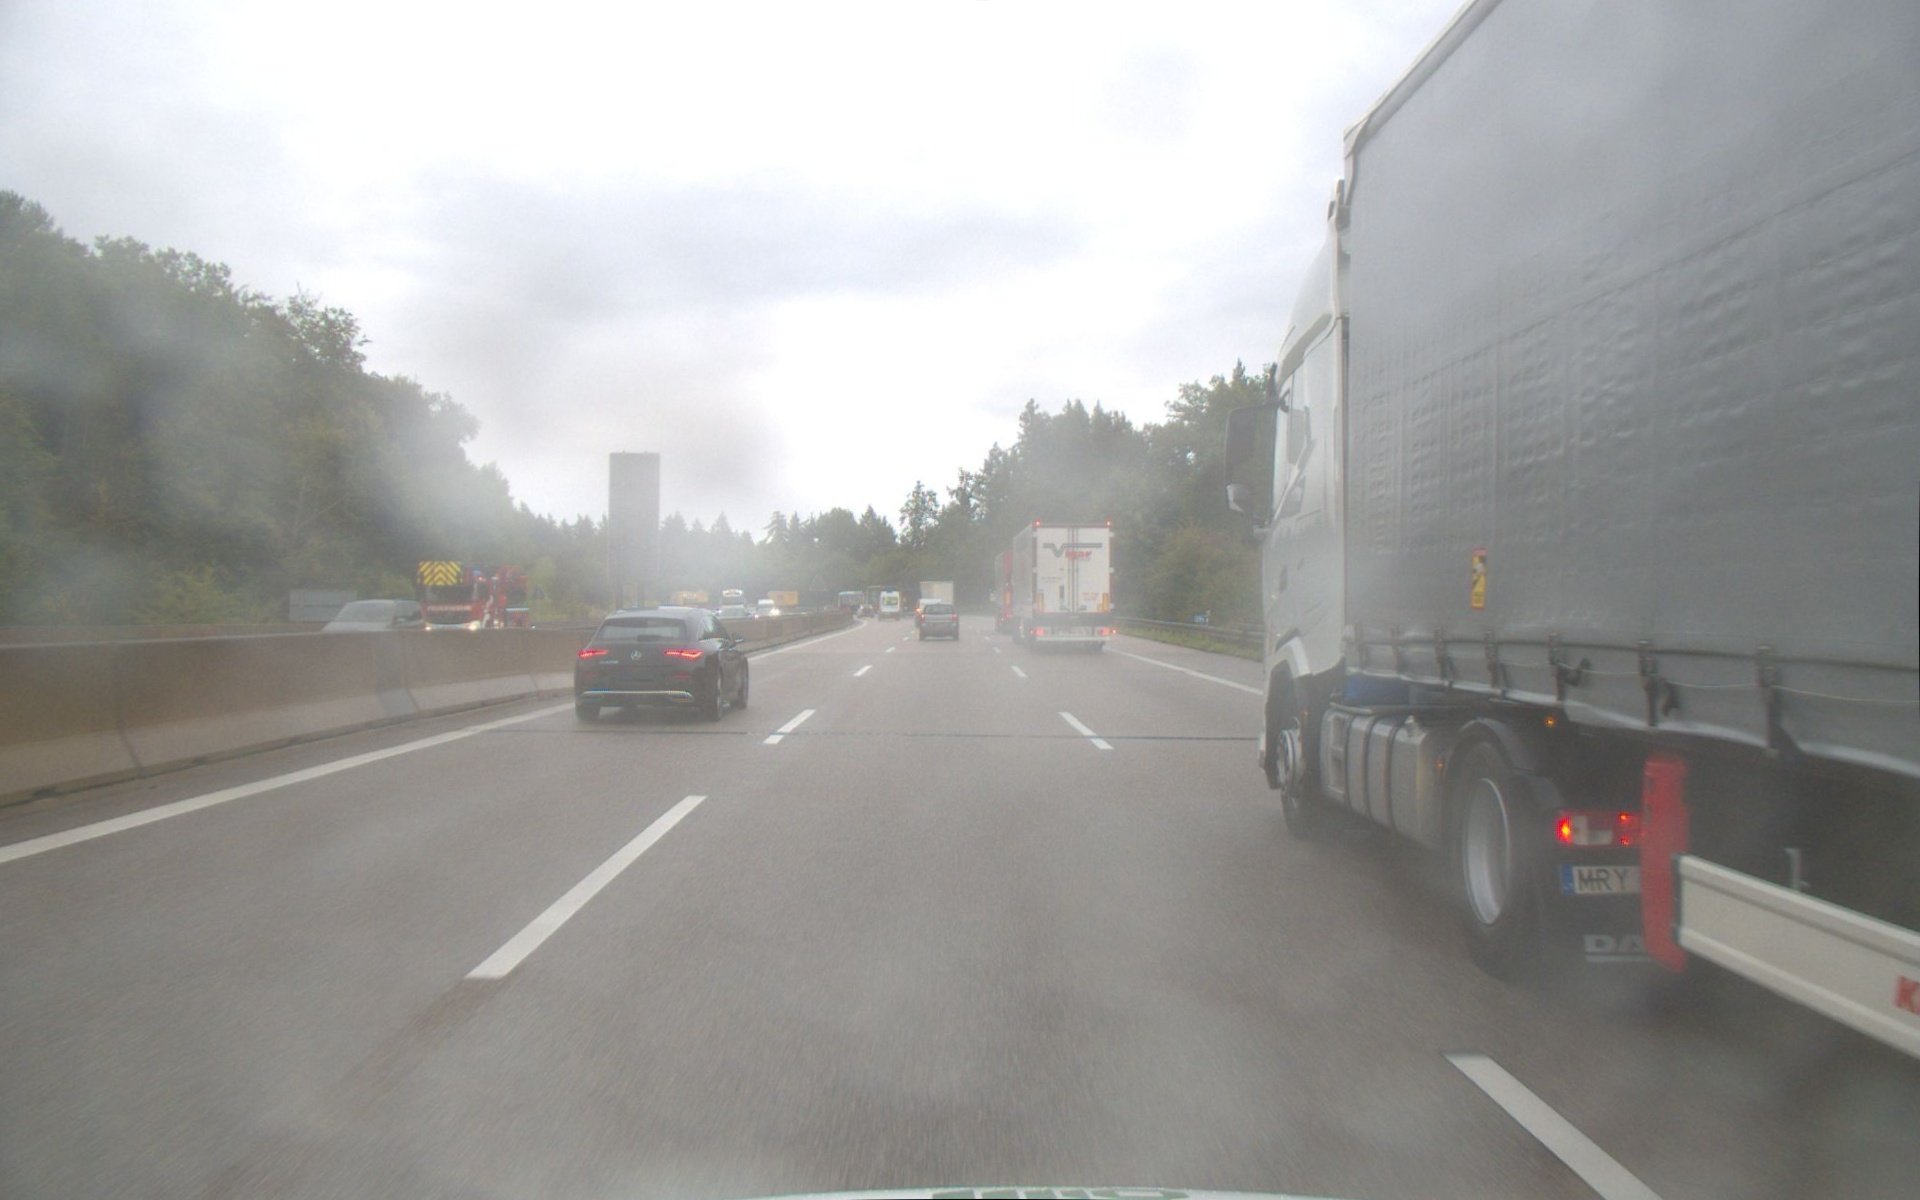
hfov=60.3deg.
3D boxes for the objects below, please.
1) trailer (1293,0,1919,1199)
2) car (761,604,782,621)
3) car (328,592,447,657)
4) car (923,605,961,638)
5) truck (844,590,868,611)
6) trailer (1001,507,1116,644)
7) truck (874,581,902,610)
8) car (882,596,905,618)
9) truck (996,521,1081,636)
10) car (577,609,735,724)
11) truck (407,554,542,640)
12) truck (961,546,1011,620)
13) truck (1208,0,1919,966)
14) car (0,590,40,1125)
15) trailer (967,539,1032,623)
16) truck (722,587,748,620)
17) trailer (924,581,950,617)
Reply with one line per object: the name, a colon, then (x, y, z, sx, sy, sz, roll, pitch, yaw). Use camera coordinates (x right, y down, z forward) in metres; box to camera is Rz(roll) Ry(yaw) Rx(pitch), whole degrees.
trailer: (3.373, -0.561, 2.801, 2.625, 4.112, 13.701, 1, 0, -1)
car: (-18.424, 1.235, 161.490, 1.575, 1.581, 4.641, 0, 0, -1)
car: (-14.937, 0.614, 43.405, 1.670, 1.605, 4.267, 0, 0, -1)
car: (-0.750, 0.913, 71.094, 1.522, 1.375, 3.684, 1, 0, 1)
truck: (-15.598, -0.007, 247.351, 3.025, 2.956, 7.888, 0, 1, -8)
trailer: (3.199, -0.757, 57.755, 2.679, 4.175, 13.677, -1, 0, -2)
truck: (-10.821, -0.669, 247.171, 3.305, 4.203, 10.422, -1, 1, -7)
car: (-6.452, 0.660, 159.338, 1.955, 2.095, 3.996, -2, 0, -5)
truck: (2.990, -0.800, 64.240, 2.742, 4.175, 5.965, -1, 0, -2)
car: (-3.971, 0.828, 22.109, 1.522, 1.375, 3.682, 1, 0, -2)
truck: (-19.448, -0.107, 67.057, 2.382, 3.230, 10.660, 0, 0, 0)
truck: (1.455, -0.929, 94.210, 2.328, 4.023, 6.156, -2, 0, -3)
truck: (3.294, -0.538, 9.767, 2.666, 4.112, 5.751, 1, 0, -1)
car: (-3.433, 0.701, 2.895, 1.650, 1.488, 3.682, 1, 0, -2)
trailer: (1.920, -0.924, 85.840, 2.323, 4.023, 12.511, -1, 0, -3)
truck: (-25.976, 0.392, 191.189, 2.515, 3.731, 10.477, -1, 0, -6)
trailer: (-2.767, -0.166, 195.429, 2.372, 4.139, 12.045, -1, 1, -4)
